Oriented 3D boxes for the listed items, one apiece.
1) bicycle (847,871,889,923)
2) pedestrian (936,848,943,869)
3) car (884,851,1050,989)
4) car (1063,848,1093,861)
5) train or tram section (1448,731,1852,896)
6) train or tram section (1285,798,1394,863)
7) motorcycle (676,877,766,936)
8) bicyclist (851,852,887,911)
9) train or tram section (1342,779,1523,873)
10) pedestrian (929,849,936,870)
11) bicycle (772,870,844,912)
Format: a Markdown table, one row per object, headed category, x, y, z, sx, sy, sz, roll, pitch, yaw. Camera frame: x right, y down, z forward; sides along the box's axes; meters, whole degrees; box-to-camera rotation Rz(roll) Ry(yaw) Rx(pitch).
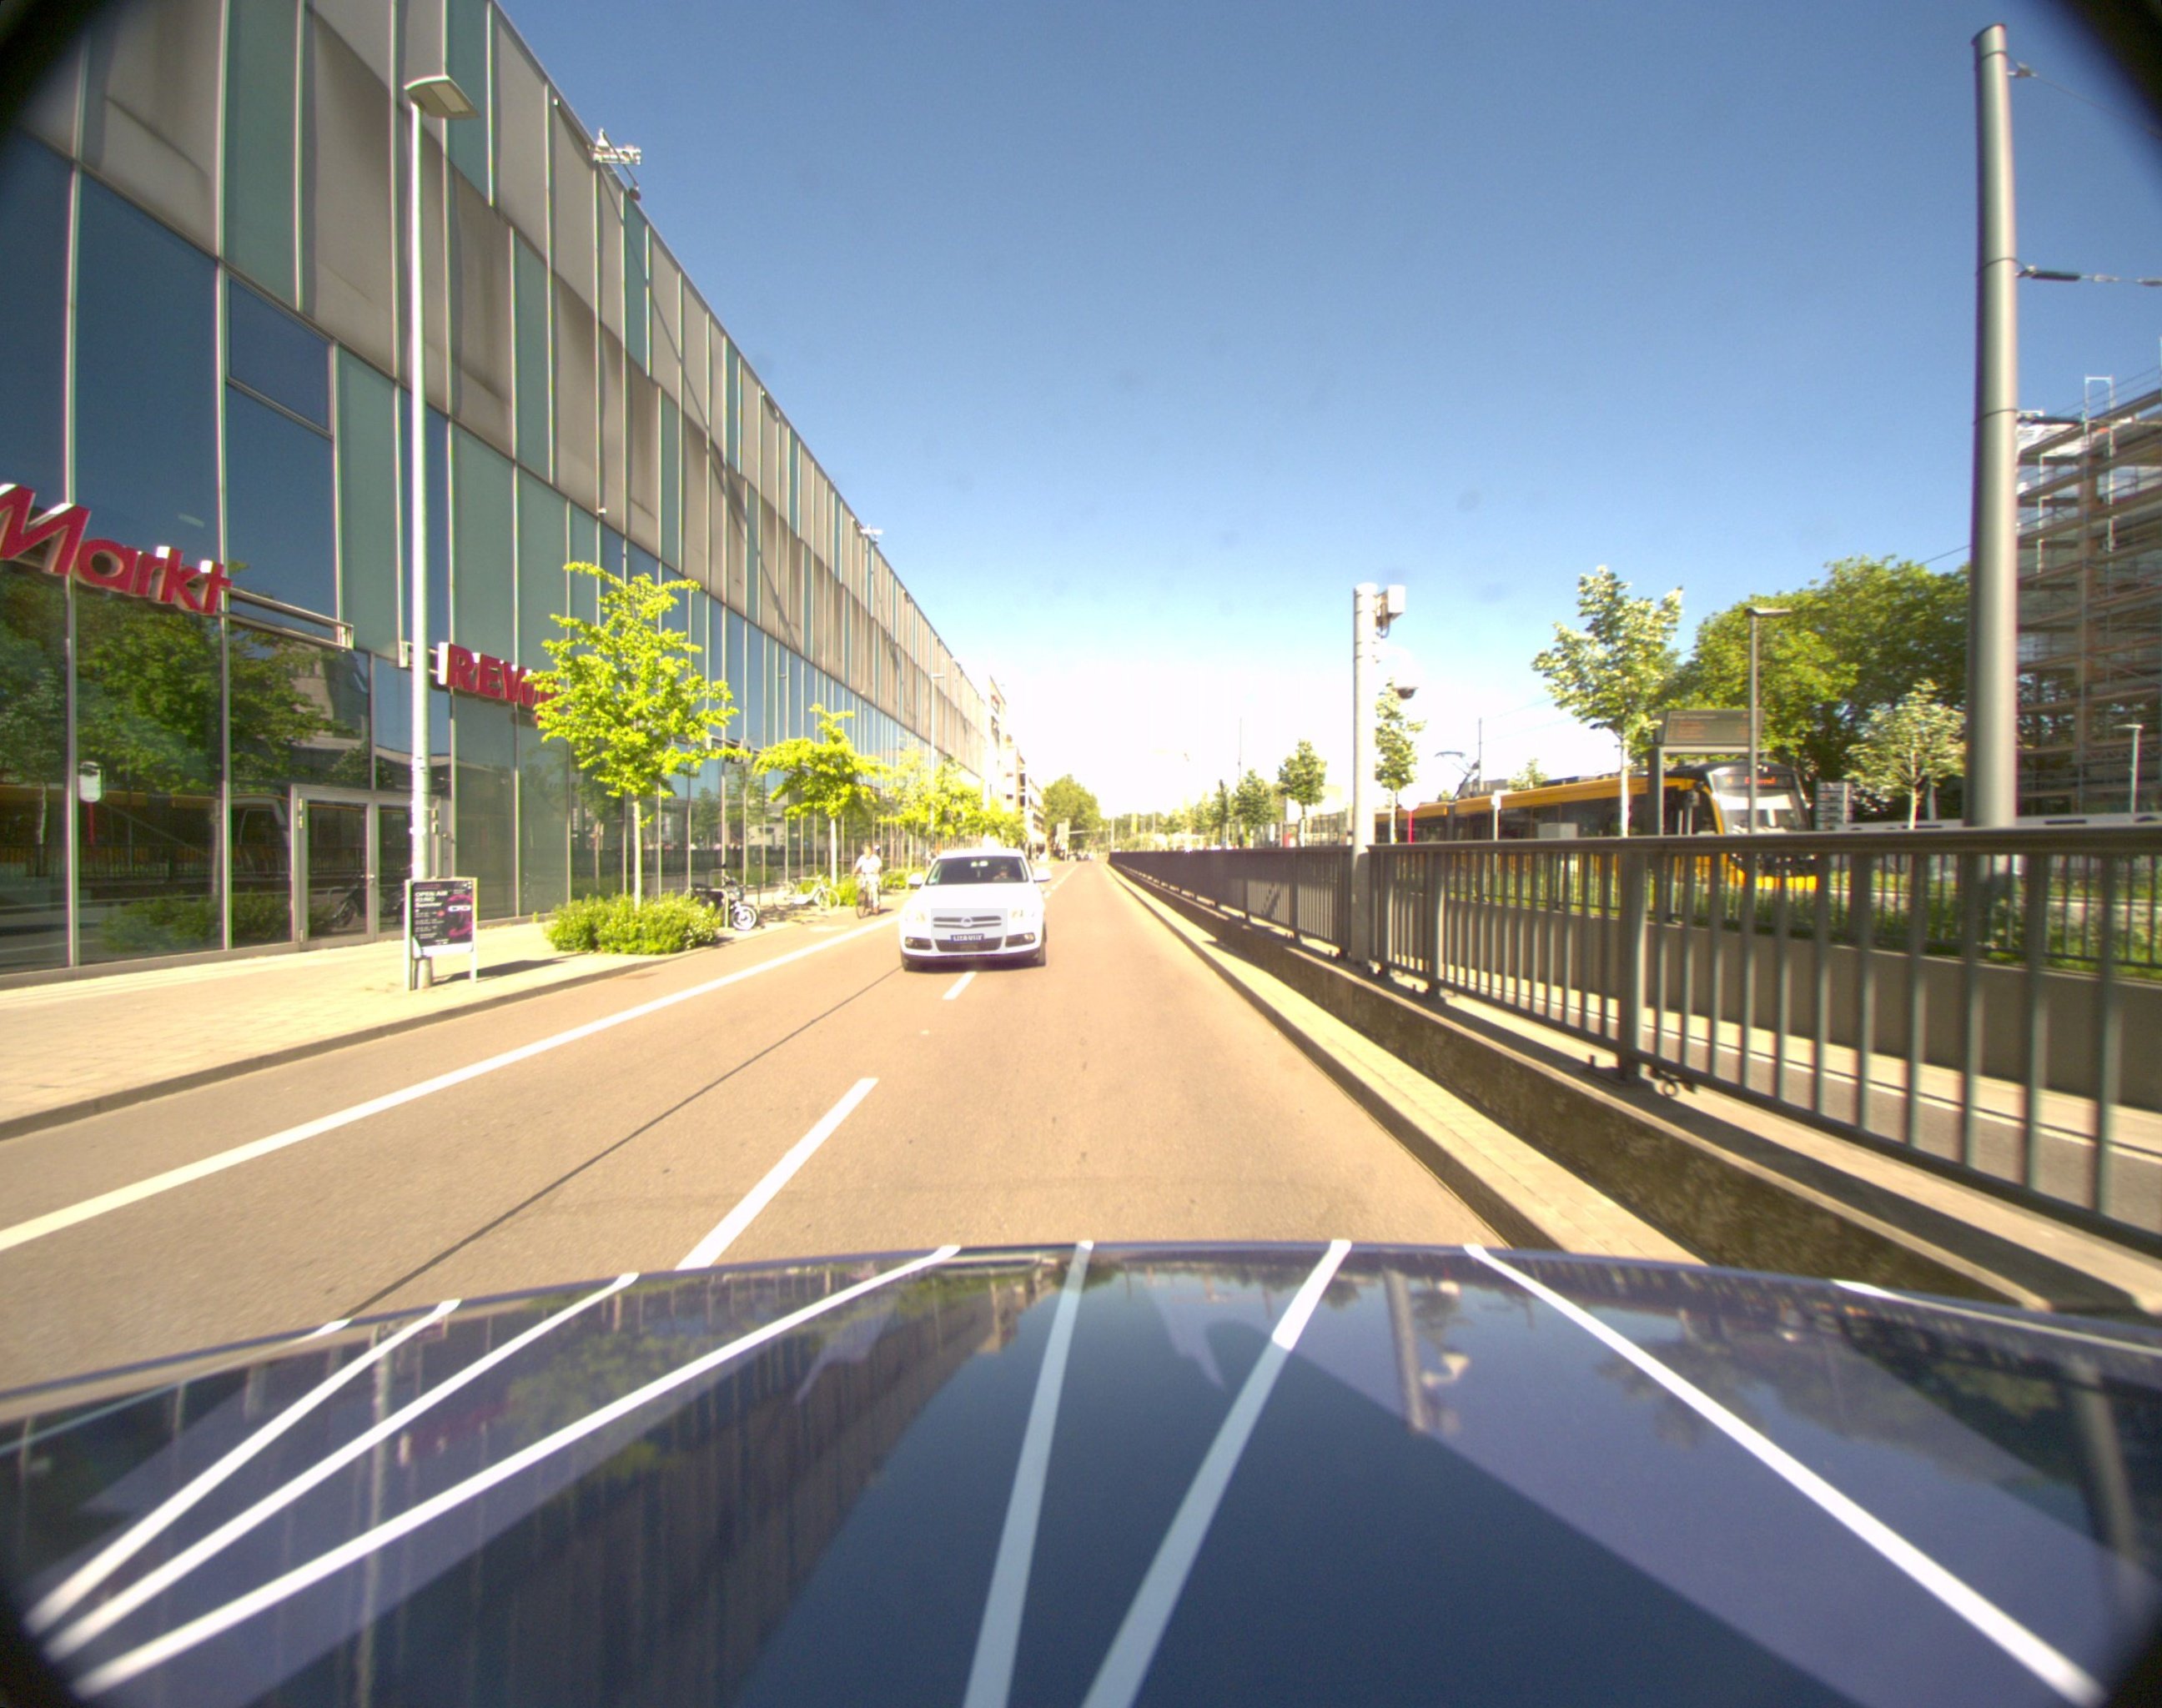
| category | x | y | z | sx | sy | sz | roll | pitch | yaw |
| --- | --- | --- | --- | --- | --- | --- | --- | --- | --- |
| bicycle | -5.374 | 1.064 | 19.302 | 0.610 | 1.144 | 1.986 | -2 | 1 | -4 |
| pedestrian | -11.164 | 0.348 | 59.827 | 0.450 | 1.681 | 0.345 | -1 | 1 | 1 |
| car | -1.478 | 0.802 | 11.327 | 1.934 | 1.624 | 3.999 | -1 | 1 | -2 |
| car | -0.391 | 0.006 | 96.581 | 3.802 | 1.527 | 1.786 | -1 | 1 | -3 |
| train or tram section | 15.544 | -0.972 | 23.051 | 2.822 | 3.618 | 12.788 | 0 | 1 | 1 |
| train or tram section | 16.083 | -1.406 | 48.642 | 2.822 | 3.618 | 12.788 | 0 | 1 | 1 |
| motorcycle | -7.558 | 1.073 | 15.953 | 1.876 | 1.076 | 0.645 | 2 | 2 | 25 |
| bicyclist | -5.369 | 0.681 | 19.268 | 0.755 | 1.454 | 0.587 | -1 | 2 | -4 |
| train or tram section | 15.821 | -1.180 | 35.851 | 2.822 | 3.618 | 12.788 | 0 | 1 | 1 |
| pedestrian | -11.605 | 0.417 | 59.459 | 0.450 | 1.591 | 0.287 | -1 | 1 | 1 |
| bicycle | -7.340 | 0.989 | 20.481 | 1.741 | 1.056 | 0.467 | 2 | 0 | -15 |
